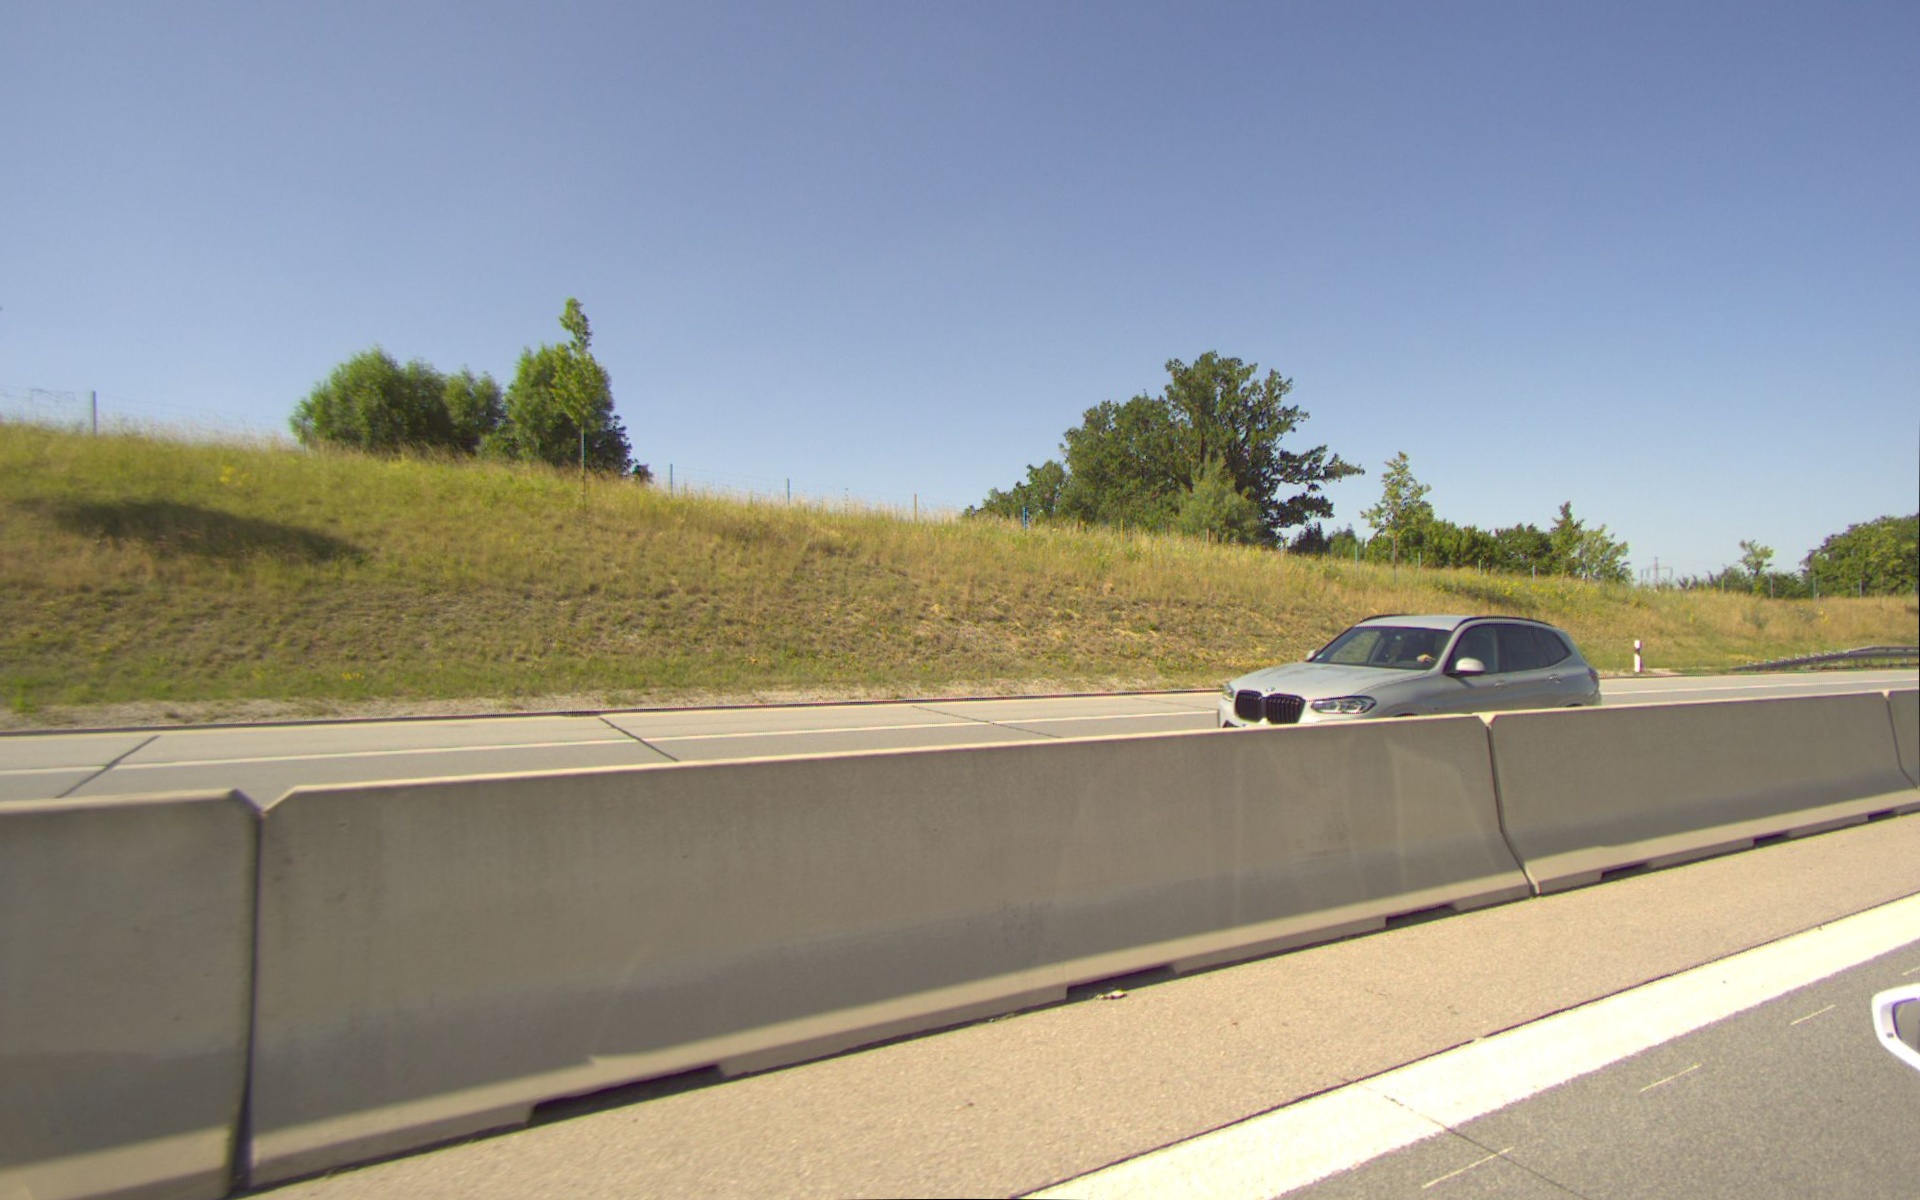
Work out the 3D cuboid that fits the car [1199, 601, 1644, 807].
[{"bbox_3d":[5.030,0.947,10.754,4.829,1.755,1.922,1,0,-31],"label":"car"}]
